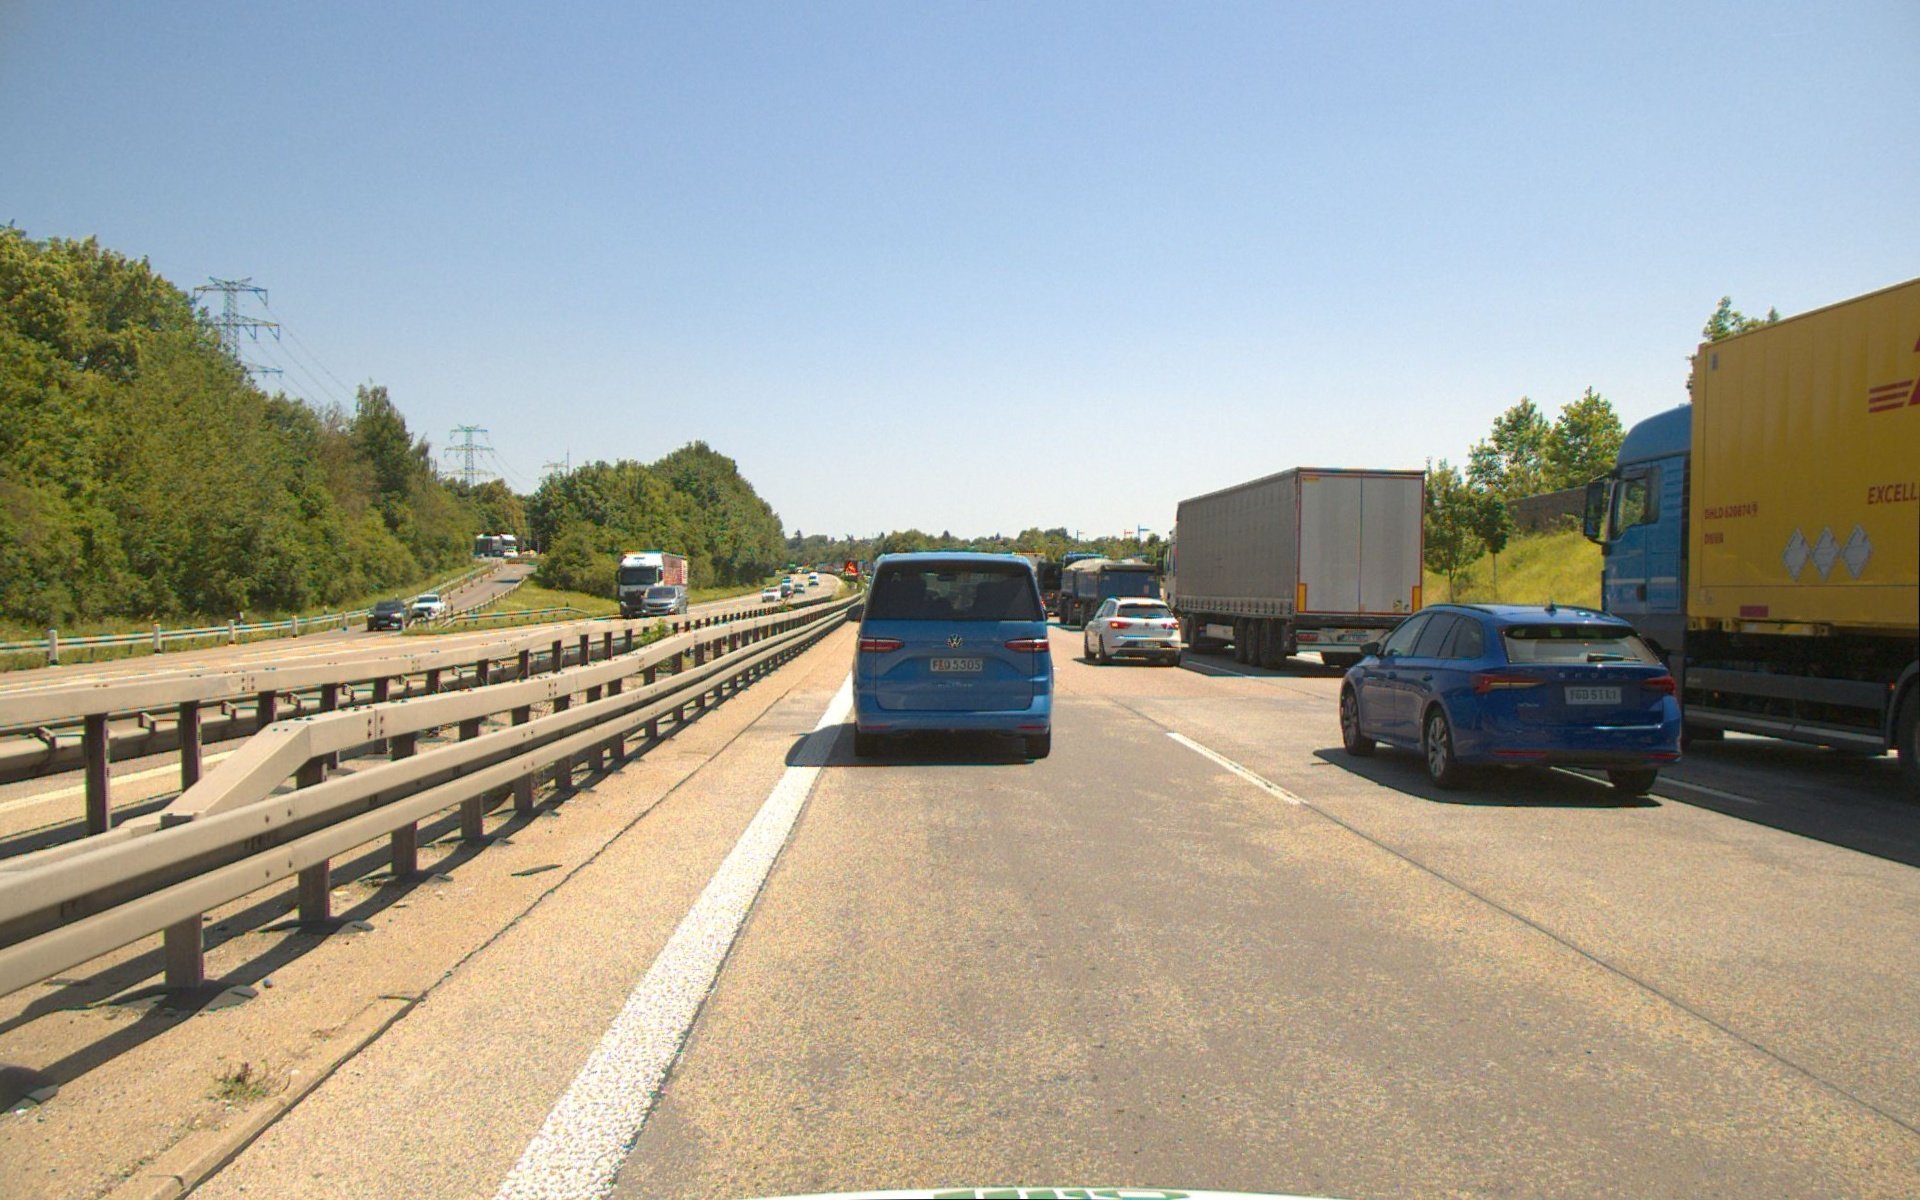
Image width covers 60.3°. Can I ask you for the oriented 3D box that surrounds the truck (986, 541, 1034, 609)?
[{"bbox_3d":[3.957,-1.966,133.324,3.584,5.270,5.708,1,0,-1],"label":"truck"}]

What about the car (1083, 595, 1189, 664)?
[{"bbox_3d":[3.817,0.606,36.470,1.830,1.385,3.999,1,1,-1],"label":"car"}]

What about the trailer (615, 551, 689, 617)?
[{"bbox_3d":[-20.550,-1.143,111.372,2.708,4.045,14.675,-2,1,-2],"label":"trailer"}]

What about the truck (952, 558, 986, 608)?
[{"bbox_3d":[0.903,-1.727,174.263,3.007,5.006,10.684,1,0,-3],"label":"truck"}]

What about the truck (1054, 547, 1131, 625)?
[{"bbox_3d":[6.028,-0.701,76.526,2.688,3.369,7.130,1,1,-2],"label":"truck"}]

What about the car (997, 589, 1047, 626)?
[{"bbox_3d":[2.567,0.304,69.346,1.803,1.480,3.998,1,0,-2],"label":"car"}]

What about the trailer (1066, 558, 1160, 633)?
[{"bbox_3d":[6.285,-0.272,69.284,2.688,2.886,9.112,1,1,-2],"label":"trailer"}]

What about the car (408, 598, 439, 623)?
[{"bbox_3d":[-34.397,0.661,106.034,1.661,1.481,4.318,1,0,-21],"label":"car"}]

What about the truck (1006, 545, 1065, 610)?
[{"bbox_3d":[5.018,-1.456,111.485,3.551,4.166,7.523,1,0,0],"label":"truck"}]

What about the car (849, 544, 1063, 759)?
[{"bbox_3d":[-0.065,0.459,16.617,1.863,1.870,3.999,1,0,-1],"label":"car"}]

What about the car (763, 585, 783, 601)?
[{"bbox_3d":[-19.148,-0.714,169.819,1.814,1.492,4.301,-1,0,-4],"label":"car"}]

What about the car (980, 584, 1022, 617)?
[{"bbox_3d":[1.943,0.022,79.666,1.745,1.551,3.998,1,0,-3],"label":"car"}]

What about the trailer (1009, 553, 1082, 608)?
[{"bbox_3d":[5.139,-1.095,103.015,3.572,3.132,15.770,1,0,0],"label":"trailer"}]

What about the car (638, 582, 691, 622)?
[{"bbox_3d":[-15.258,0.109,85.679,1.953,1.975,4.895,1,0,-2],"label":"car"}]

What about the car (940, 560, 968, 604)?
[{"bbox_3d":[-0.822,-2.200,207.870,3.154,5.349,8.140,1,0,-2],"label":"car"}]

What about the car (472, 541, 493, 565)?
[{"bbox_3d":[-61.024,-5.991,211.316,2.039,2.930,6.691,-1,0,-21],"label":"car"}]

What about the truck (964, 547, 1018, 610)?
[{"bbox_3d":[2.684,-1.840,150.183,3.550,5.304,15.677,1,0,-4],"label":"truck"}]

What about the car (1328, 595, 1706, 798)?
[{"bbox_3d":[4.597,0.715,14.390,1.672,1.466,4.426,1,0,-2],"label":"car"}]

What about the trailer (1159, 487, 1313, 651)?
[{"bbox_3d":[7.330,-0.830,44.795,2.866,4.114,6.408,0,1,-2],"label":"trailer"}]

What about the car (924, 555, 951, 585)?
[{"bbox_3d":[-2.251,-2.958,165.152,2.499,2.765,5.618,1,0,-2],"label":"car"}]

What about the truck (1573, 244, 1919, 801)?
[{"bbox_3d":[8.500,-0.574,13.832,2.710,4.181,9.949,1,0,-2],"label":"truck"}]

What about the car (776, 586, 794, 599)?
[{"bbox_3d":[-21.454,-0.915,202.862,1.839,1.472,4.142,-2,0,-3],"label":"car"}]

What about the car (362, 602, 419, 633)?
[{"bbox_3d":[-30.263,0.908,88.026,1.957,1.603,5.263,1,0,-9],"label":"car"}]

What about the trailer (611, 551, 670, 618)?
[{"bbox_3d":[-20.318,-1.009,105.473,2.702,4.045,6.129,-2,1,-2],"label":"trailer"}]

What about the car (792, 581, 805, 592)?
[{"bbox_3d":[-23.699,-1.977,243.092,1.738,1.659,3.948,1,0,-3],"label":"car"}]

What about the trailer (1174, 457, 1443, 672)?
[{"bbox_3d":[7.594,-0.734,38.698,2.903,4.120,13.746,0,0,-2],"label":"trailer"}]

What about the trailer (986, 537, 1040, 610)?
[{"bbox_3d":[3.975,-1.927,127.256,3.572,5.226,13.074,1,0,0],"label":"trailer"}]
